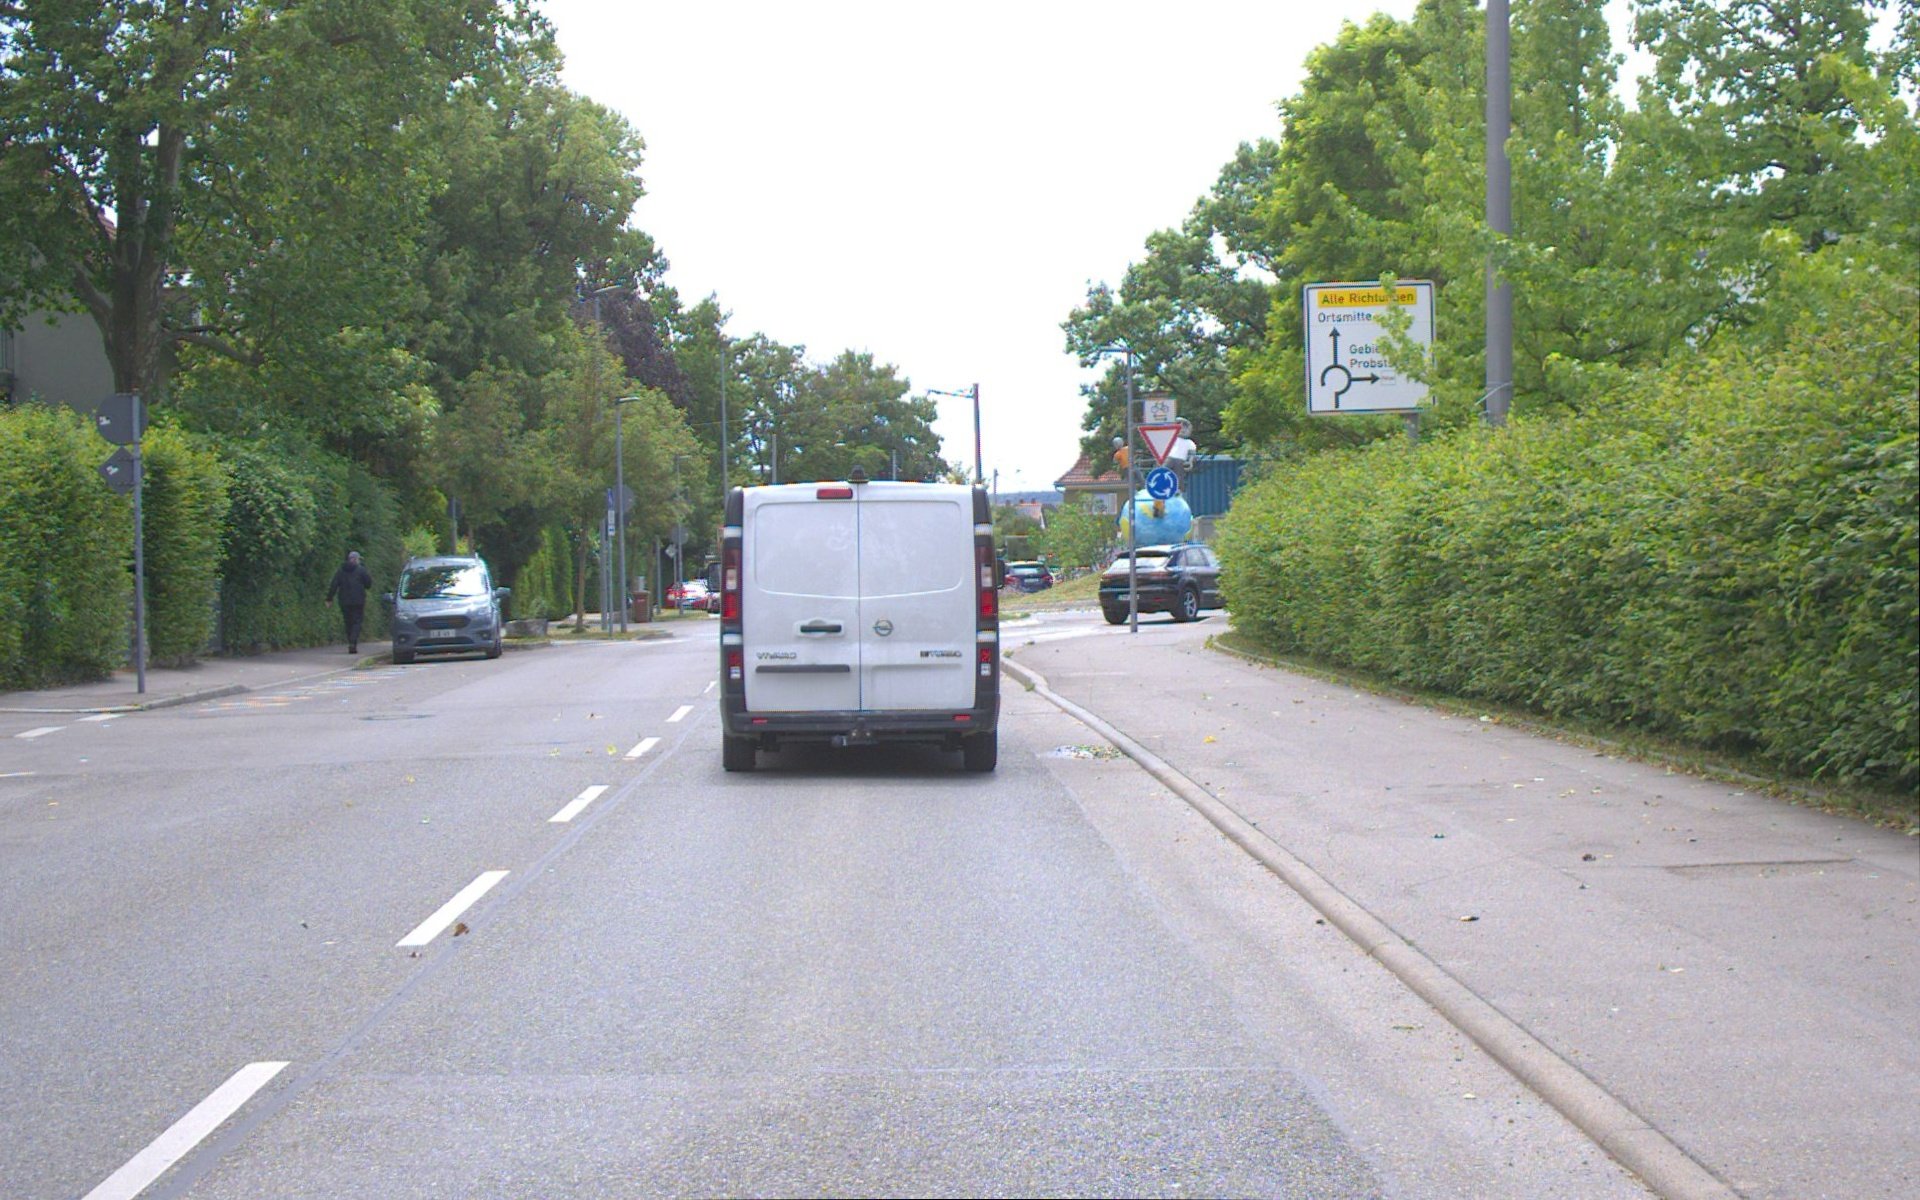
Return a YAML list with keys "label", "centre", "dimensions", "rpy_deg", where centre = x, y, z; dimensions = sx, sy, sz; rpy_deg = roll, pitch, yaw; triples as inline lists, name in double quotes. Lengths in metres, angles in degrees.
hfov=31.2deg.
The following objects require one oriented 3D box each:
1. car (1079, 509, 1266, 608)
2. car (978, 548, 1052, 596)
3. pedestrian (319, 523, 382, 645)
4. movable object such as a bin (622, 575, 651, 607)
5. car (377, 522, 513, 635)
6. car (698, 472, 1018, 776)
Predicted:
- label: "car"
  centre: [4.470, -0.884, 71.873]
  dimensions: [1.998, 2.007, 3.991]
  rpy_deg: [2, 2, 37]
- label: "car"
  centre: [1.904, -0.997, 120.527]
  dimensions: [1.932, 1.532, 3.926]
  rpy_deg: [-1, 2, -9]
- label: "pedestrian"
  centre: [-10.305, -0.277, 58.134]
  dimensions: [0.871, 2.007, 1.041]
  rpy_deg: [-2, 1, -5]
- label: "movable object such as a bin"
  centre: [-9.356, -0.263, 99.447]
  dimensions: [0.630, 0.860, 0.640]
  rpy_deg: [-3, 1, 9]
- label: "car"
  centre: [-8.523, -0.390, 57.002]
  dimensions: [2.131, 1.766, 4.466]
  rpy_deg: [0, 1, -8]
- label: "car"
  centre: [-0.706, 0.092, 24.595]
  dimensions: [2.034, 1.938, 4.994]
  rpy_deg: [1, 1, -1]
